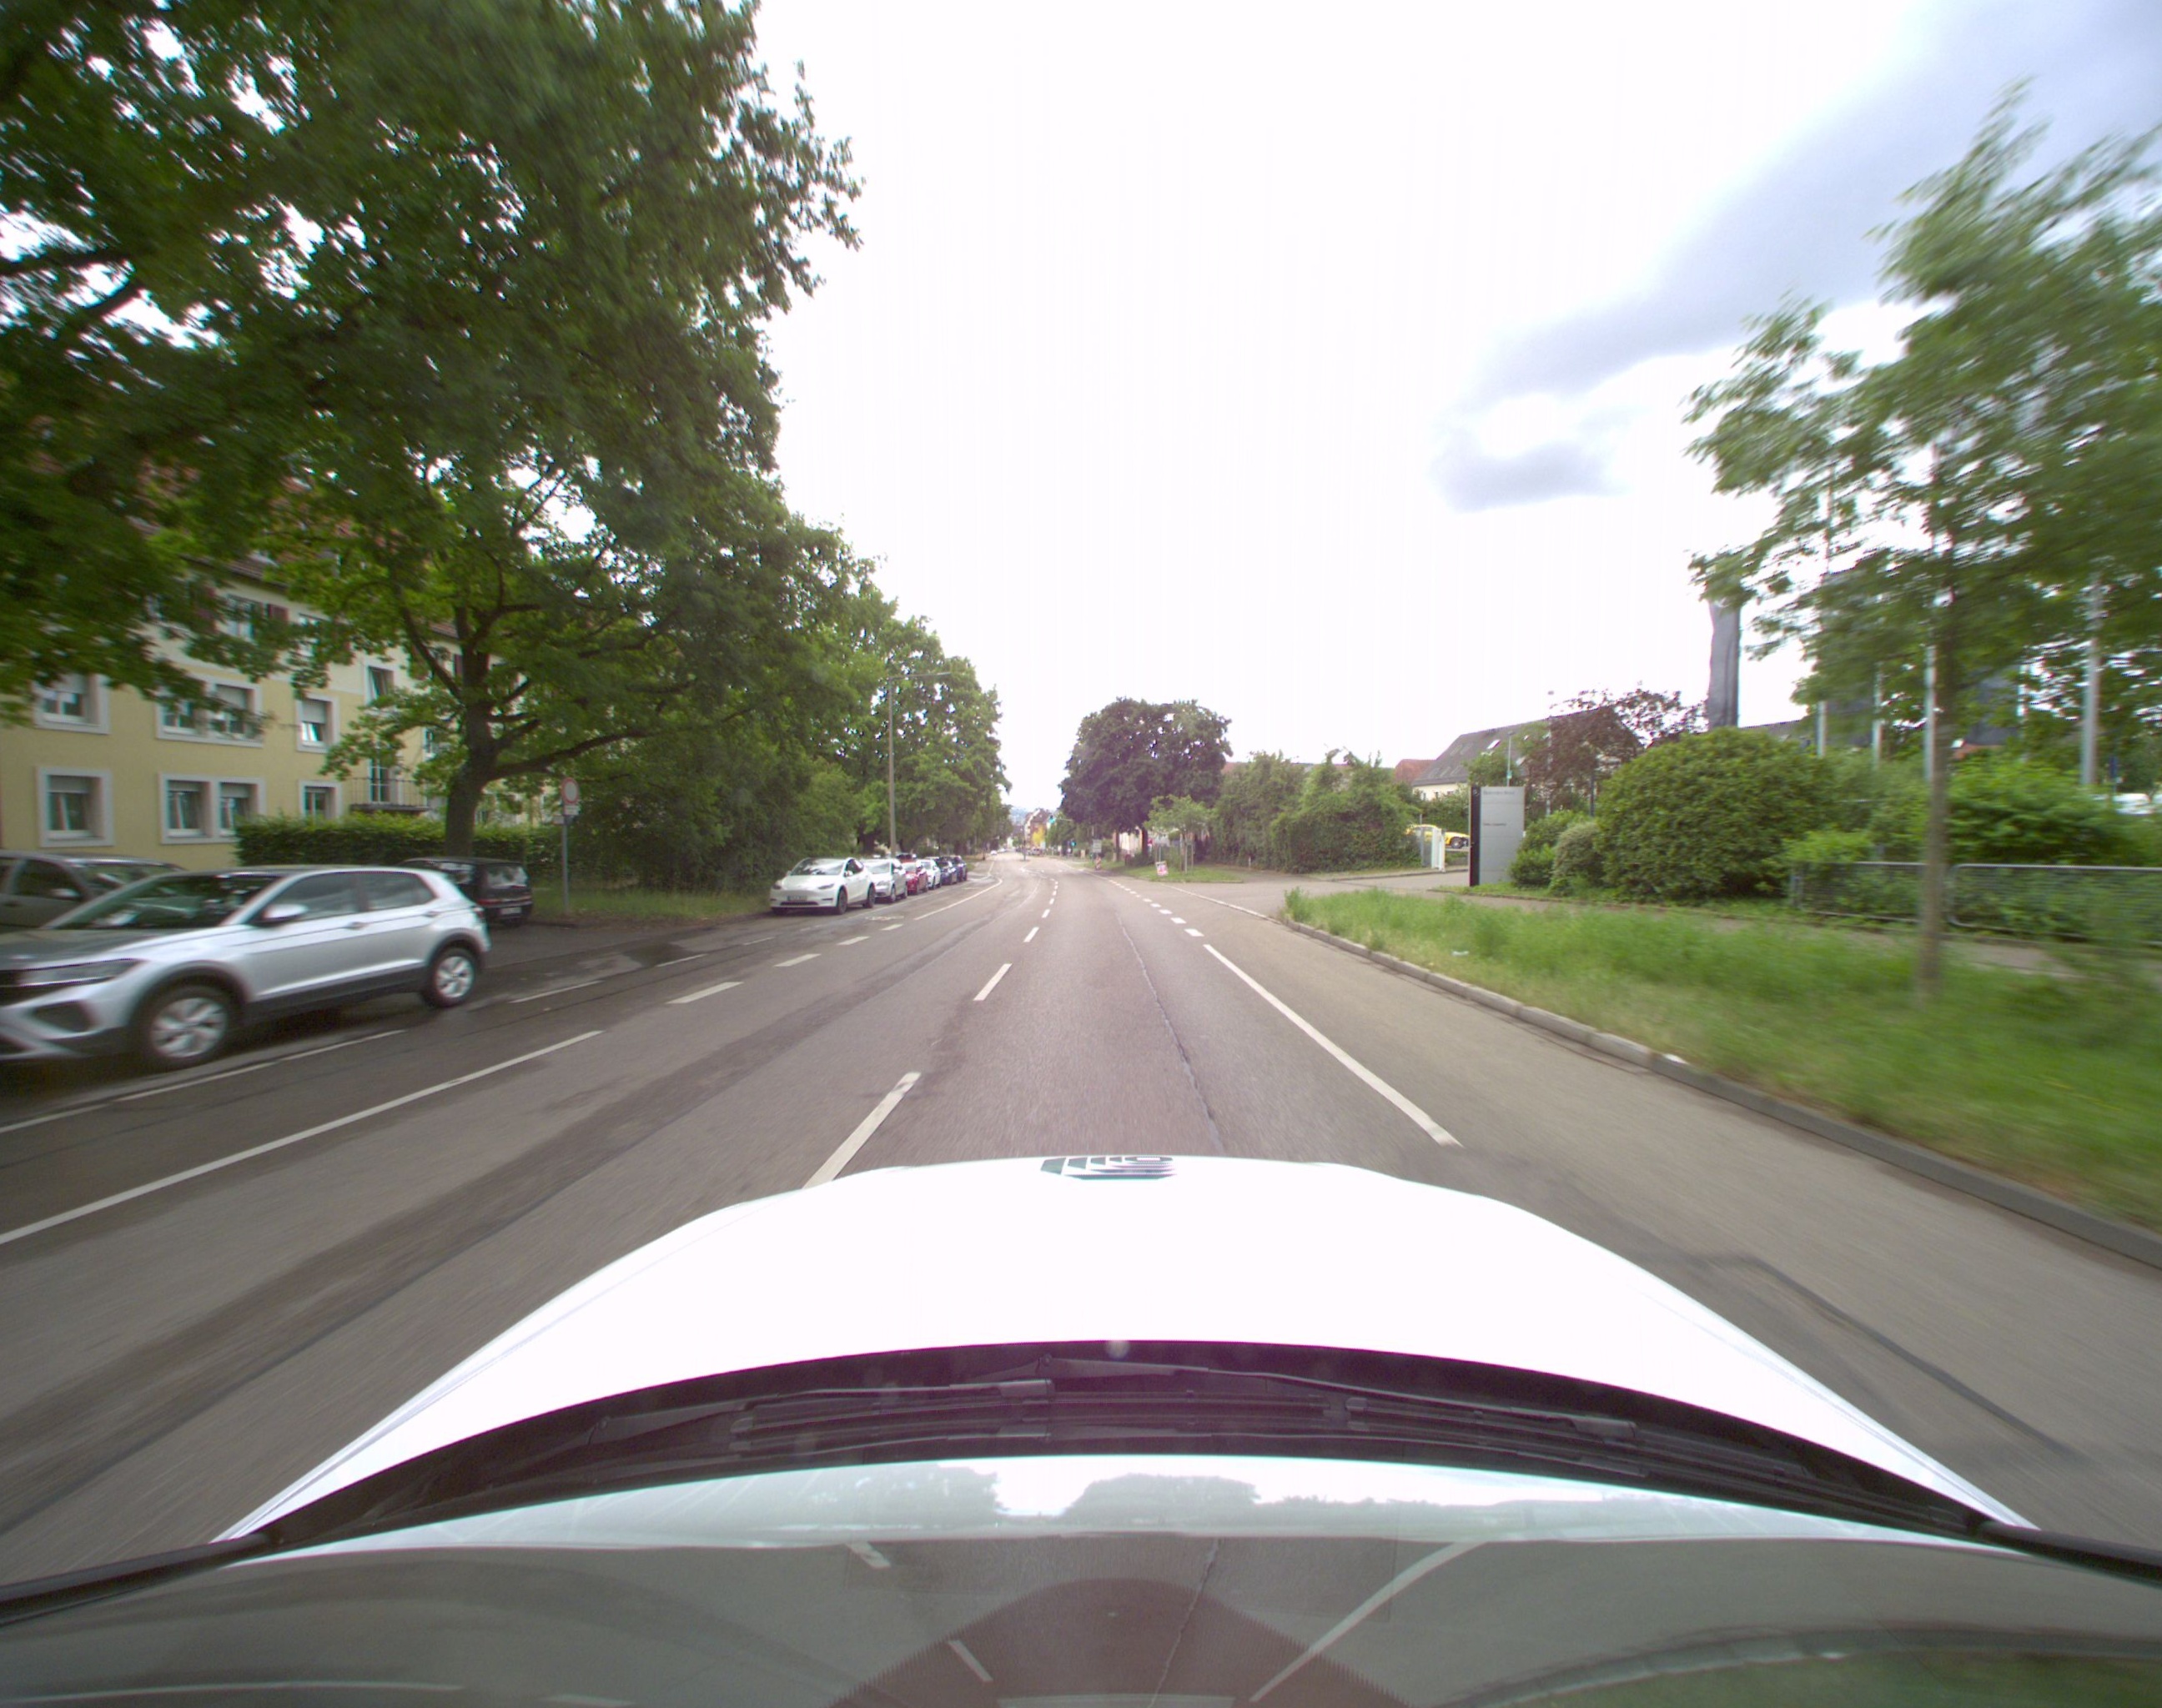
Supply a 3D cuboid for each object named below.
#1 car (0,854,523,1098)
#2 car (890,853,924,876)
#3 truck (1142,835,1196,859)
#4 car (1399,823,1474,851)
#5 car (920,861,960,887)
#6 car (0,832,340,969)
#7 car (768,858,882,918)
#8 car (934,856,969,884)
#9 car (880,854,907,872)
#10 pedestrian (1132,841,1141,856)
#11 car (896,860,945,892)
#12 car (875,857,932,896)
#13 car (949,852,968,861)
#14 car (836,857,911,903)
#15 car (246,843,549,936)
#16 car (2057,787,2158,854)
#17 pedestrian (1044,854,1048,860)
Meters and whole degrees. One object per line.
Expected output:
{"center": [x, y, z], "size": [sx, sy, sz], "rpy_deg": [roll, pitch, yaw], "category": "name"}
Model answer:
{"center": [-7.562, 0.829, 7.552], "size": [1.759, 1.633, 4.160], "rpy_deg": [-1, 0, 2], "category": "car"}
{"center": [-13.198, 0.750, 61.919], "size": [1.757, 1.633, 3.997], "rpy_deg": [2, 0, -2], "category": "car"}
{"center": [12.339, -1.006, 114.365], "size": [7.226, 3.307, 2.532], "rpy_deg": [0, 0, -10], "category": "truck"}
{"center": [21.787, -1.014, 49.950], "size": [3.948, 1.651, 2.013], "rpy_deg": [0, 0, 34], "category": "car"}
{"center": [-7.928, 1.085, 46.005], "size": [1.711, 1.389, 4.333], "rpy_deg": [0, 0, -3], "category": "car"}
{"center": [-13.153, 0.565, 10.969], "size": [4.421, 1.450, 1.867], "rpy_deg": [4, 0, -3], "category": "car"}
{"center": [-7.475, 0.939, 24.272], "size": [1.760, 1.573, 4.761], "rpy_deg": [-1, -1, 1], "category": "car"}
{"center": [-8.199, 0.990, 51.921], "size": [1.711, 1.612, 4.530], "rpy_deg": [0, 1, -3], "category": "car"}
{"center": [-16.842, 0.792, 73.356], "size": [1.758, 1.633, 4.281], "rpy_deg": [0, 0, -5], "category": "car"}
{"center": [7.176, -0.669, 105.030], "size": [0.750, 1.855, 0.948], "rpy_deg": [-3, 1, -20], "category": "pedestrian"}
{"center": [-7.861, 1.053, 40.288], "size": [1.711, 1.459, 4.751], "rpy_deg": [0, -1, -3], "category": "car"}
{"center": [-7.601, 0.944, 35.184], "size": [1.711, 1.573, 4.366], "rpy_deg": [0, -1, -3], "category": "car"}
{"center": [-22.427, 0.506, 148.929], "size": [3.446, 1.596, 1.995], "rpy_deg": [0, 0, -7], "category": "car"}
{"center": [-7.450, 0.894, 29.632], "size": [1.864, 1.573, 4.115], "rpy_deg": [0, -1, -3], "category": "car"}
{"center": [-13.409, 0.660, 16.153], "size": [4.412, 1.455, 1.889], "rpy_deg": [4, 0, 4], "category": "car"}
{"center": [43.810, -1.444, 34.875], "size": [5.481, 2.676, 2.235], "rpy_deg": [-3, 2, -43], "category": "car"}
{"center": [-9.761, 0.882, 228.542], "size": [1.198, 1.810, 1.299], "rpy_deg": [0, 0, -5], "category": "pedestrian"}
